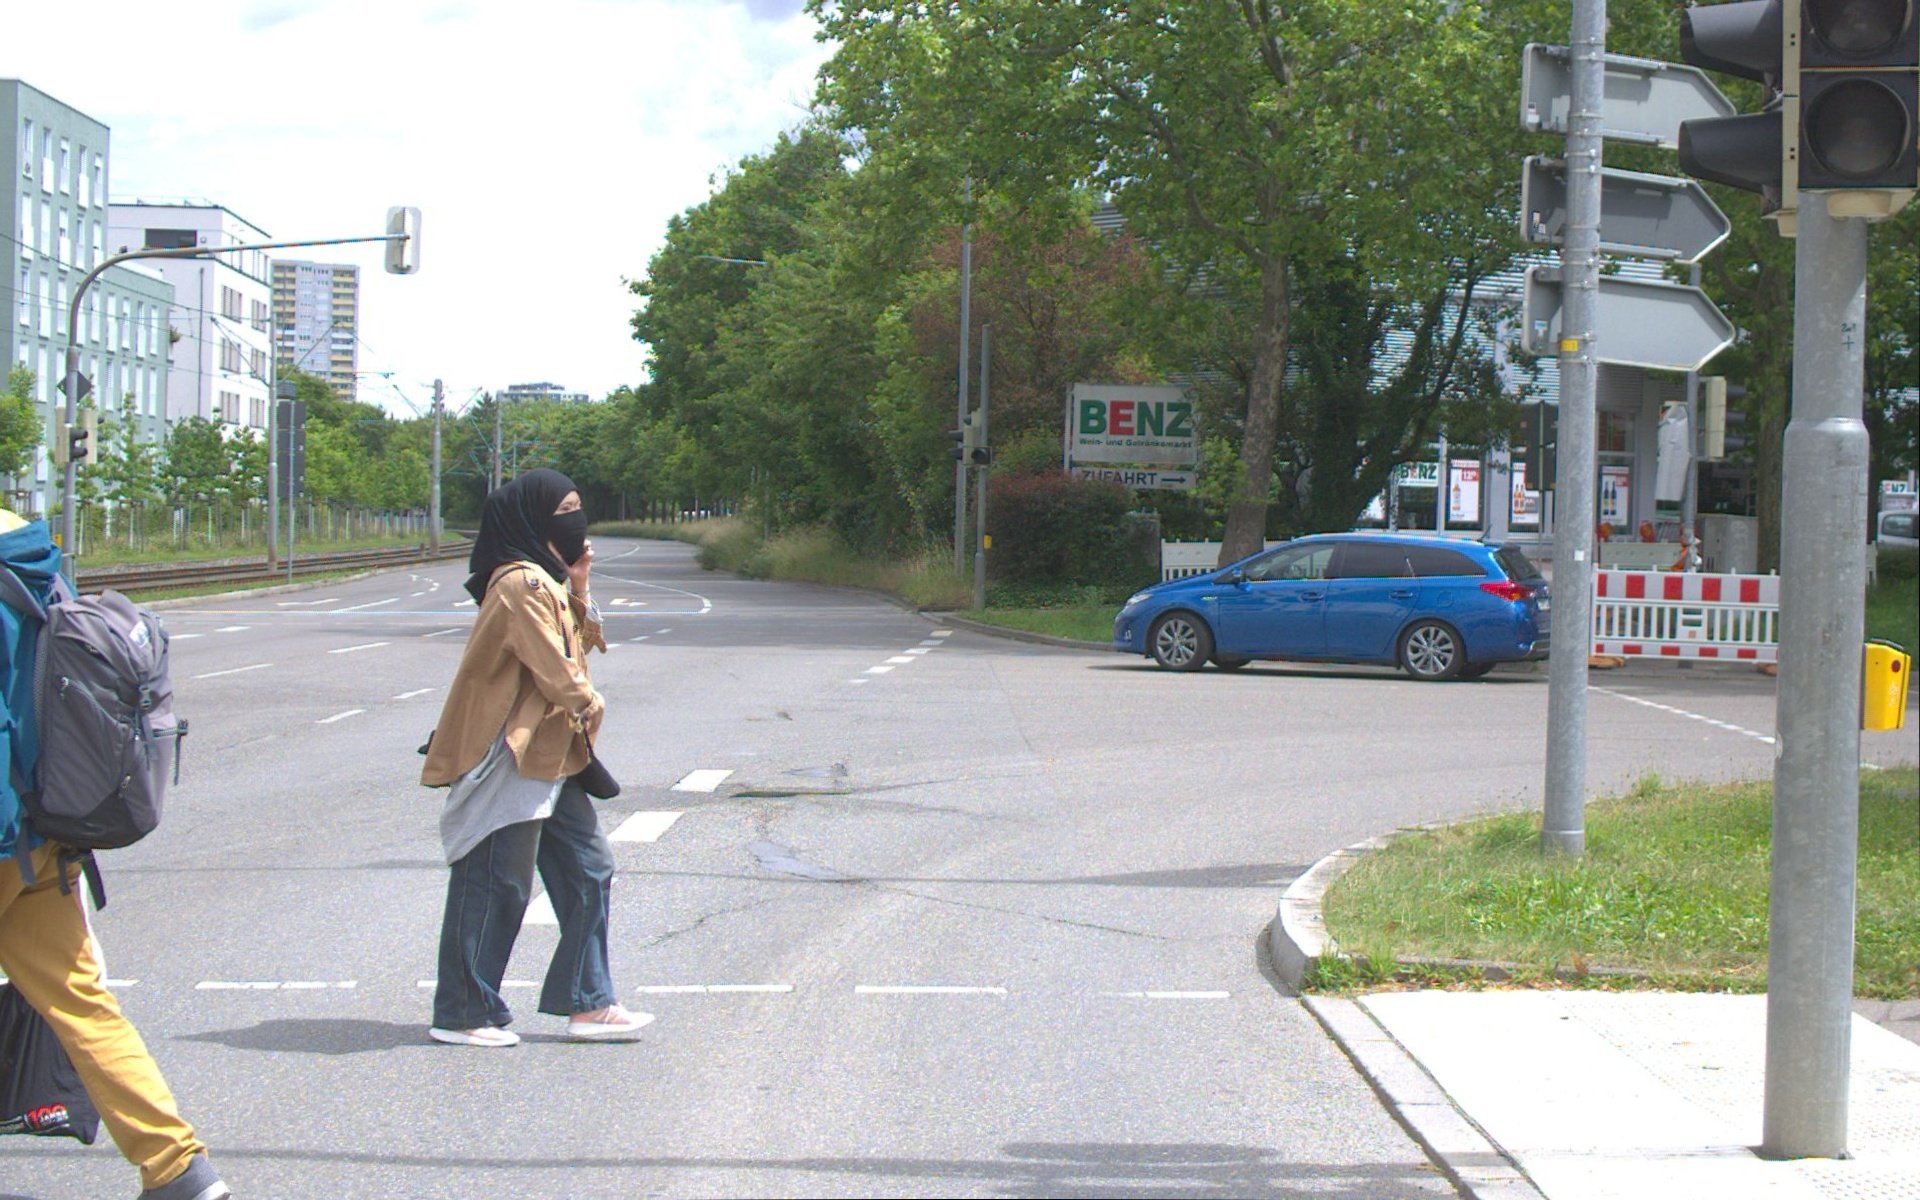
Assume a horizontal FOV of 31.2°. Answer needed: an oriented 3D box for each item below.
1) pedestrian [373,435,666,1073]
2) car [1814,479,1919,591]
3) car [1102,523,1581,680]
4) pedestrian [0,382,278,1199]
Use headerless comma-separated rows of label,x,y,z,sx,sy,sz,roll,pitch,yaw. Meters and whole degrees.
pedestrian,-1.244,0.413,9.798,0.781,1.737,0.828,0,1,-6
car,17.744,-1.186,62.562,1.993,2.007,4.000,0,2,-32
car,3.894,-0.022,34.972,4.481,1.481,1.987,1,1,21
pedestrian,-2.012,0.442,7.260,1.009,1.768,0.949,1,1,-5
